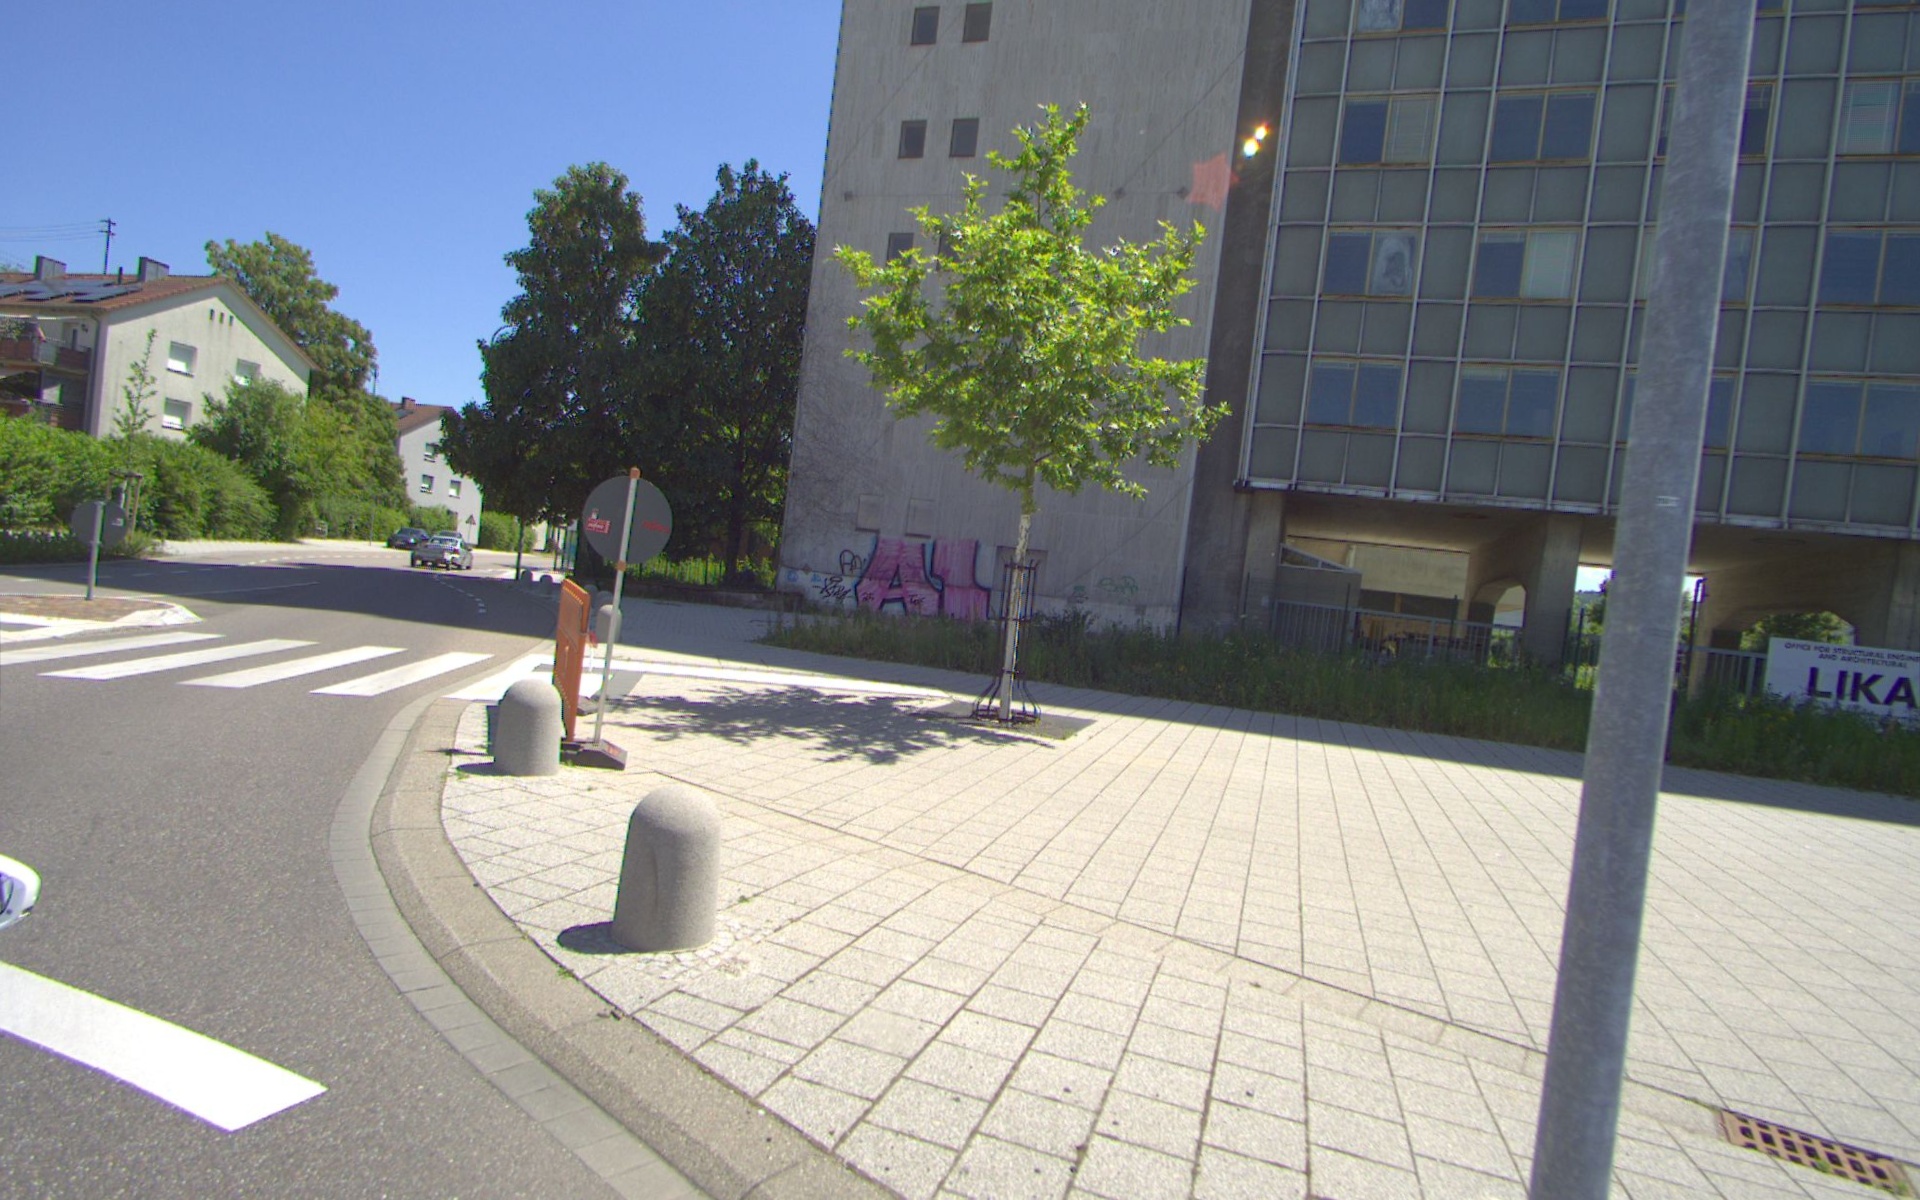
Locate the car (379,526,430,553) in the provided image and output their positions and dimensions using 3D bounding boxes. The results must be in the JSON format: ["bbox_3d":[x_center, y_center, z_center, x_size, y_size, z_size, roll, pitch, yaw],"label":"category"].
[{"bbox_3d":[-34.689,-3.739,62.907,1.716,1.455,3.699,5,1,-13],"label":"car"}]

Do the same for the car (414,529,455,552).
[{"bbox_3d":[-38.783,-4.360,74.312,1.716,1.455,3.699,5,1,-13],"label":"car"}]

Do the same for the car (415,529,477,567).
[{"bbox_3d":[-23.051,-2.331,45.208,1.717,1.455,3.696,5,1,-17],"label":"car"}]

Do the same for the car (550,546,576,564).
[{"bbox_3d":[-36.689,-4.139,93.062,1.716,1.455,3.698,5,1,-14],"label":"car"}]
